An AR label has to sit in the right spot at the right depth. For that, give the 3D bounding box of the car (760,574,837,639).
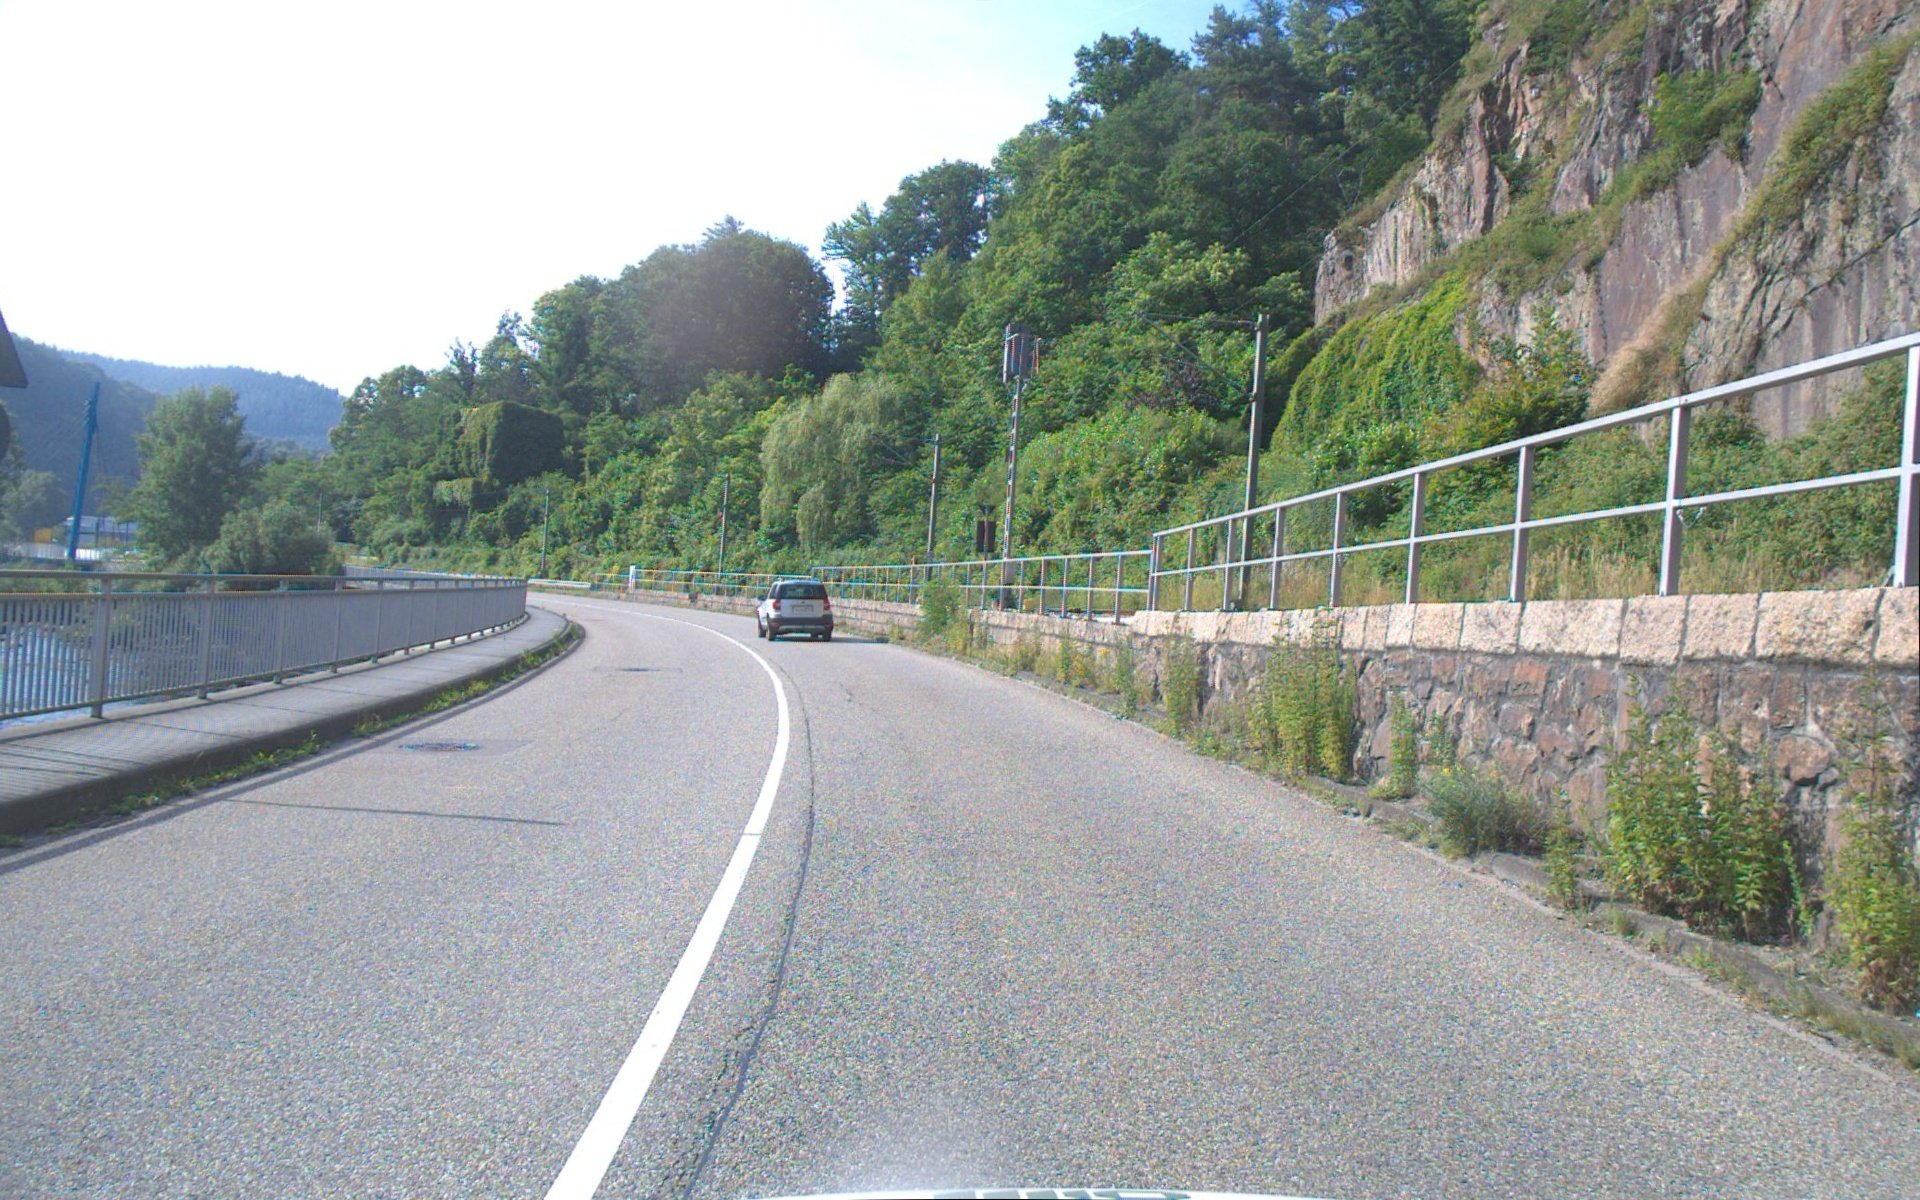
[{"bbox_3d":[-4.534,0.156,45.986,1.838,1.684,3.991,1,1,-10],"label":"car"}]
